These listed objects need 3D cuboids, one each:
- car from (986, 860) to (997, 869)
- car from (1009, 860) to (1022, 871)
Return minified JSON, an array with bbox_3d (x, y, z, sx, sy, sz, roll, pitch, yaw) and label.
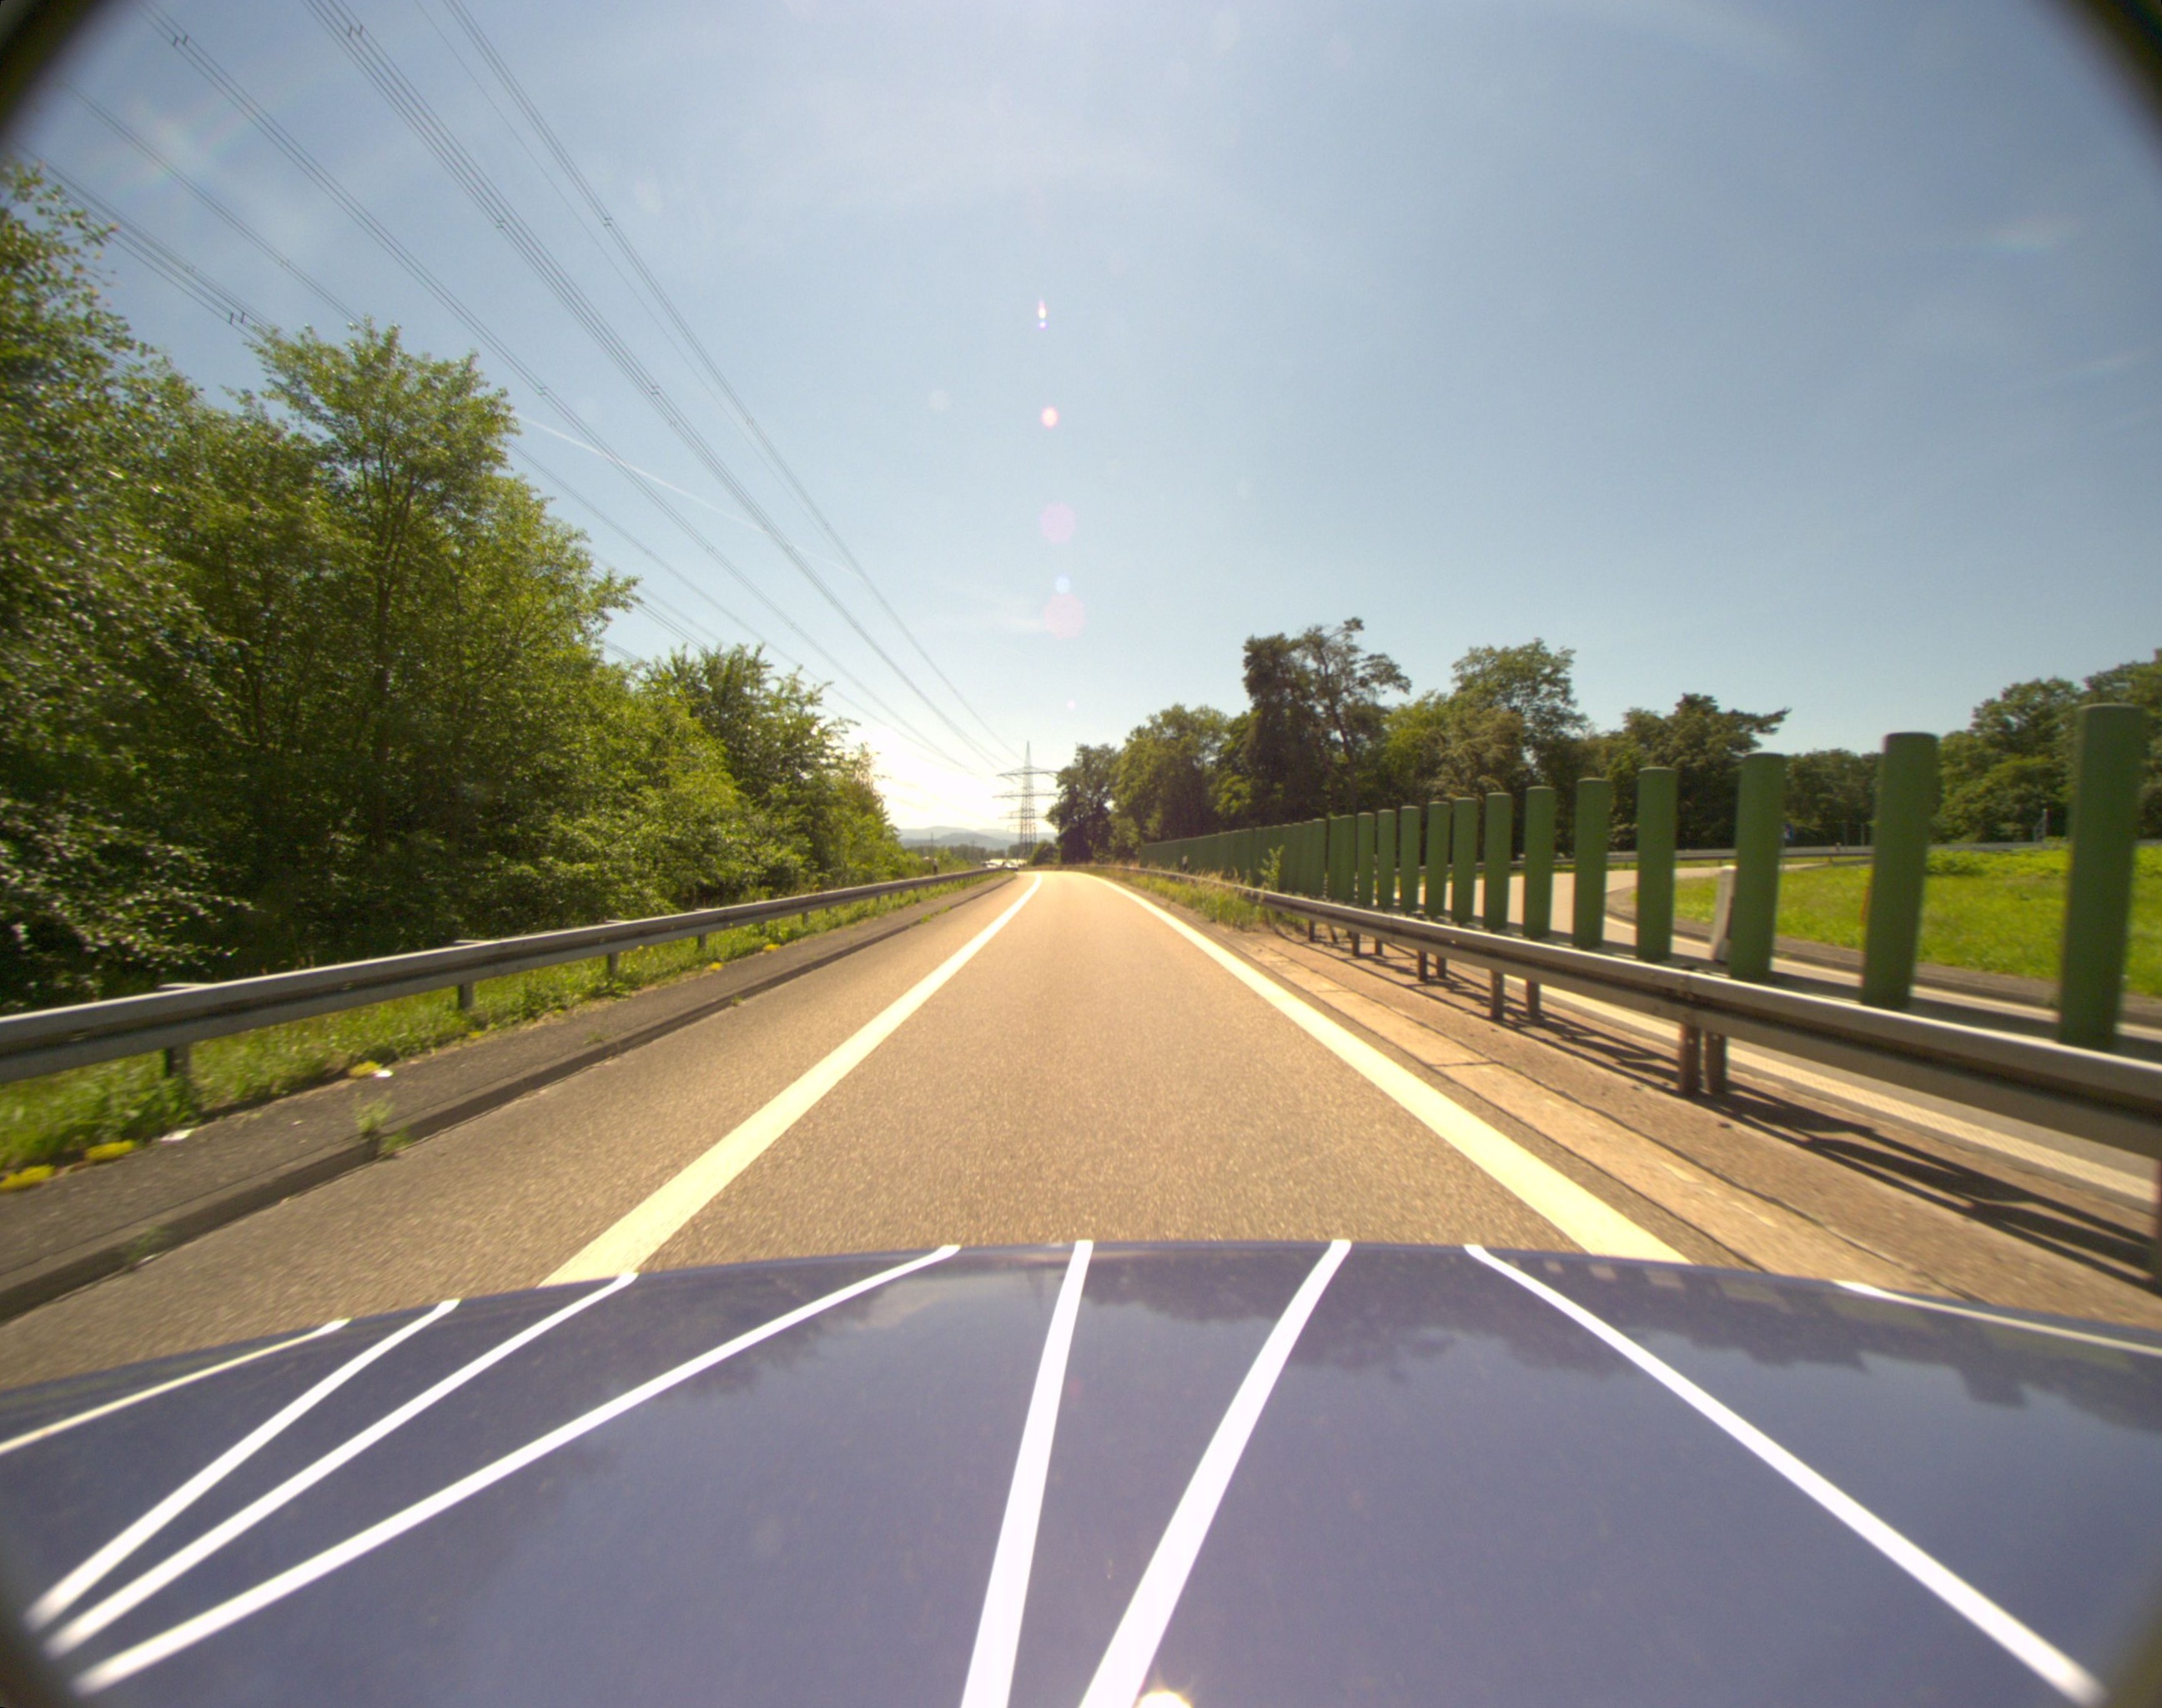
[{"bbox_3d":[-16.418,1.934,139.520,2.000,1.674,3.998,-1,0,-6],"label":"car"},{"bbox_3d":[-10.824,1.893,124.865,2.000,1.674,3.998,-1,0,-6],"label":"car"}]
